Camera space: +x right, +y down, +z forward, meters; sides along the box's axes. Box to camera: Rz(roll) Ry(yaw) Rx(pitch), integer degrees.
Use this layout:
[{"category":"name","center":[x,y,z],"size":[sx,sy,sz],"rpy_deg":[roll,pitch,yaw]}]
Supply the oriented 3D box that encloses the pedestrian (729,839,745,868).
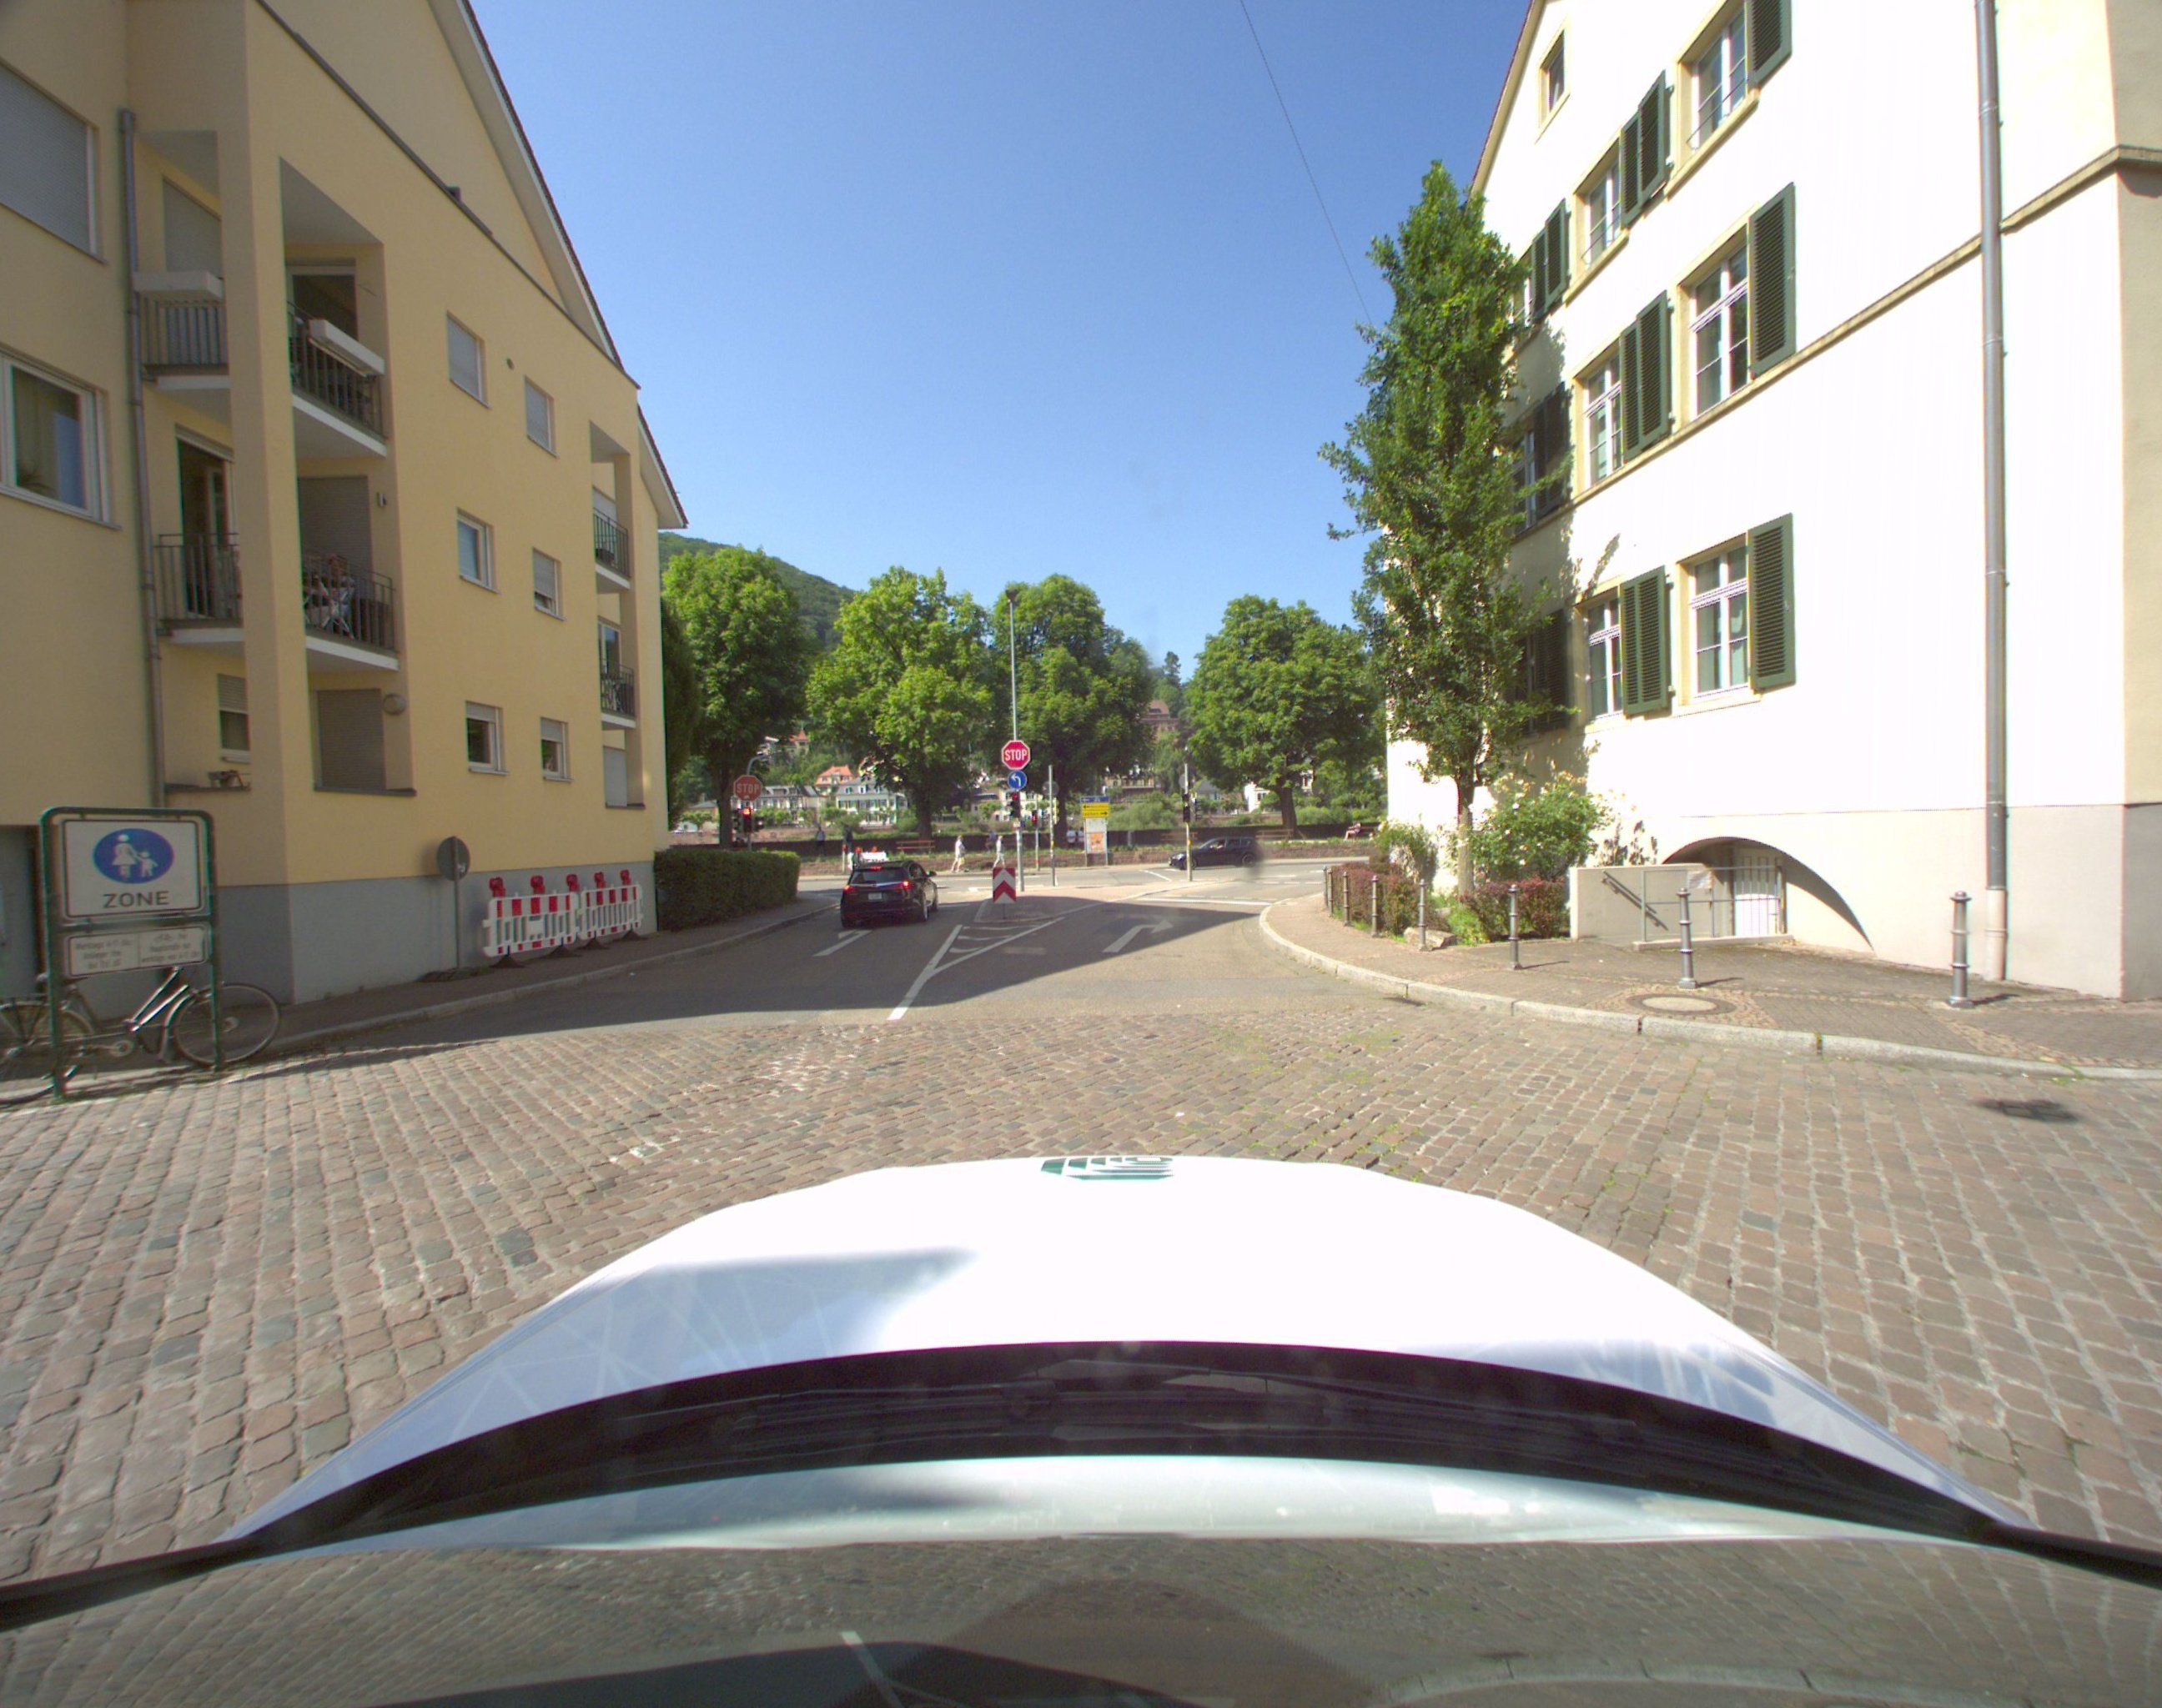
[{"category":"pedestrian","center":[-17.930,-0.033,42.430],"size":[0.465,1.493,0.804],"rpy_deg":[-2,1,0]}]

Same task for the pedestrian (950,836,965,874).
[{"category":"pedestrian","center":[-5.927,0.041,39.099],"size":[0.576,1.801,0.705],"rpy_deg":[-1,0,-1]}]

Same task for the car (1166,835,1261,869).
[{"category":"car","center":[5.998,-0.106,37.166],"size":[3.979,1.418,1.872],"rpy_deg":[-2,1,-4]}]

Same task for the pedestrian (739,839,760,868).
[{"category":"pedestrian","center":[-17.388,-0.033,42.697],"size":[0.465,1.479,1.385],"rpy_deg":[-2,1,0]}]

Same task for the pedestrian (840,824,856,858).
[{"category":"pedestrian","center":[-13.065,-0.730,45.621],"size":[0.765,1.857,0.751],"rpy_deg":[-1,0,-22]}]

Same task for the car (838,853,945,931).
[{"category":"car","center":[-4.408,0.796,19.628],"size":[1.711,1.462,4.717],"rpy_deg":[-4,1,-4]}]

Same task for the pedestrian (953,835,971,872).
[{"category":"pedestrian","center":[-5.892,-0.023,40.487],"size":[0.720,1.802,0.634],"rpy_deg":[-3,0,-1]}]

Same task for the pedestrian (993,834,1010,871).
[{"category":"pedestrian","center":[-3.947,-0.079,40.438],"size":[0.686,1.769,0.717],"rpy_deg":[-3,0,-1]}]

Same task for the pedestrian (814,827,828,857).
[{"category":"pedestrian","center":[-15.334,-0.696,48.064],"size":[0.709,1.731,0.753],"rpy_deg":[-1,0,-14]}]

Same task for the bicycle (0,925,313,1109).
[{"category":"bicycle","center":[-7.482,1.214,6.568],"size":[0.387,1.079,1.918],"rpy_deg":[-2,1,15]}]

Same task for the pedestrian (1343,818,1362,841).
[{"category":"pedestrian","center":[15.147,-1.359,45.443],"size":[0.795,1.211,0.715],"rpy_deg":[0,-2,-1]}]

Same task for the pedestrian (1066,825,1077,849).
[{"category":"pedestrian","center":[-0.532,-0.903,44.077],"size":[0.551,1.279,0.703],"rpy_deg":[0,-2,-2]}]

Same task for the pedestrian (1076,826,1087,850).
[{"category":"pedestrian","center":[0.036,-0.850,44.271],"size":[0.552,1.228,0.984],"rpy_deg":[1,-2,-4]}]

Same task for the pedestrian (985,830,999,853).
[{"category":"pedestrian","center":[-4.736,-0.659,43.395],"size":[0.642,1.228,0.412],"rpy_deg":[-1,0,-14]}]
